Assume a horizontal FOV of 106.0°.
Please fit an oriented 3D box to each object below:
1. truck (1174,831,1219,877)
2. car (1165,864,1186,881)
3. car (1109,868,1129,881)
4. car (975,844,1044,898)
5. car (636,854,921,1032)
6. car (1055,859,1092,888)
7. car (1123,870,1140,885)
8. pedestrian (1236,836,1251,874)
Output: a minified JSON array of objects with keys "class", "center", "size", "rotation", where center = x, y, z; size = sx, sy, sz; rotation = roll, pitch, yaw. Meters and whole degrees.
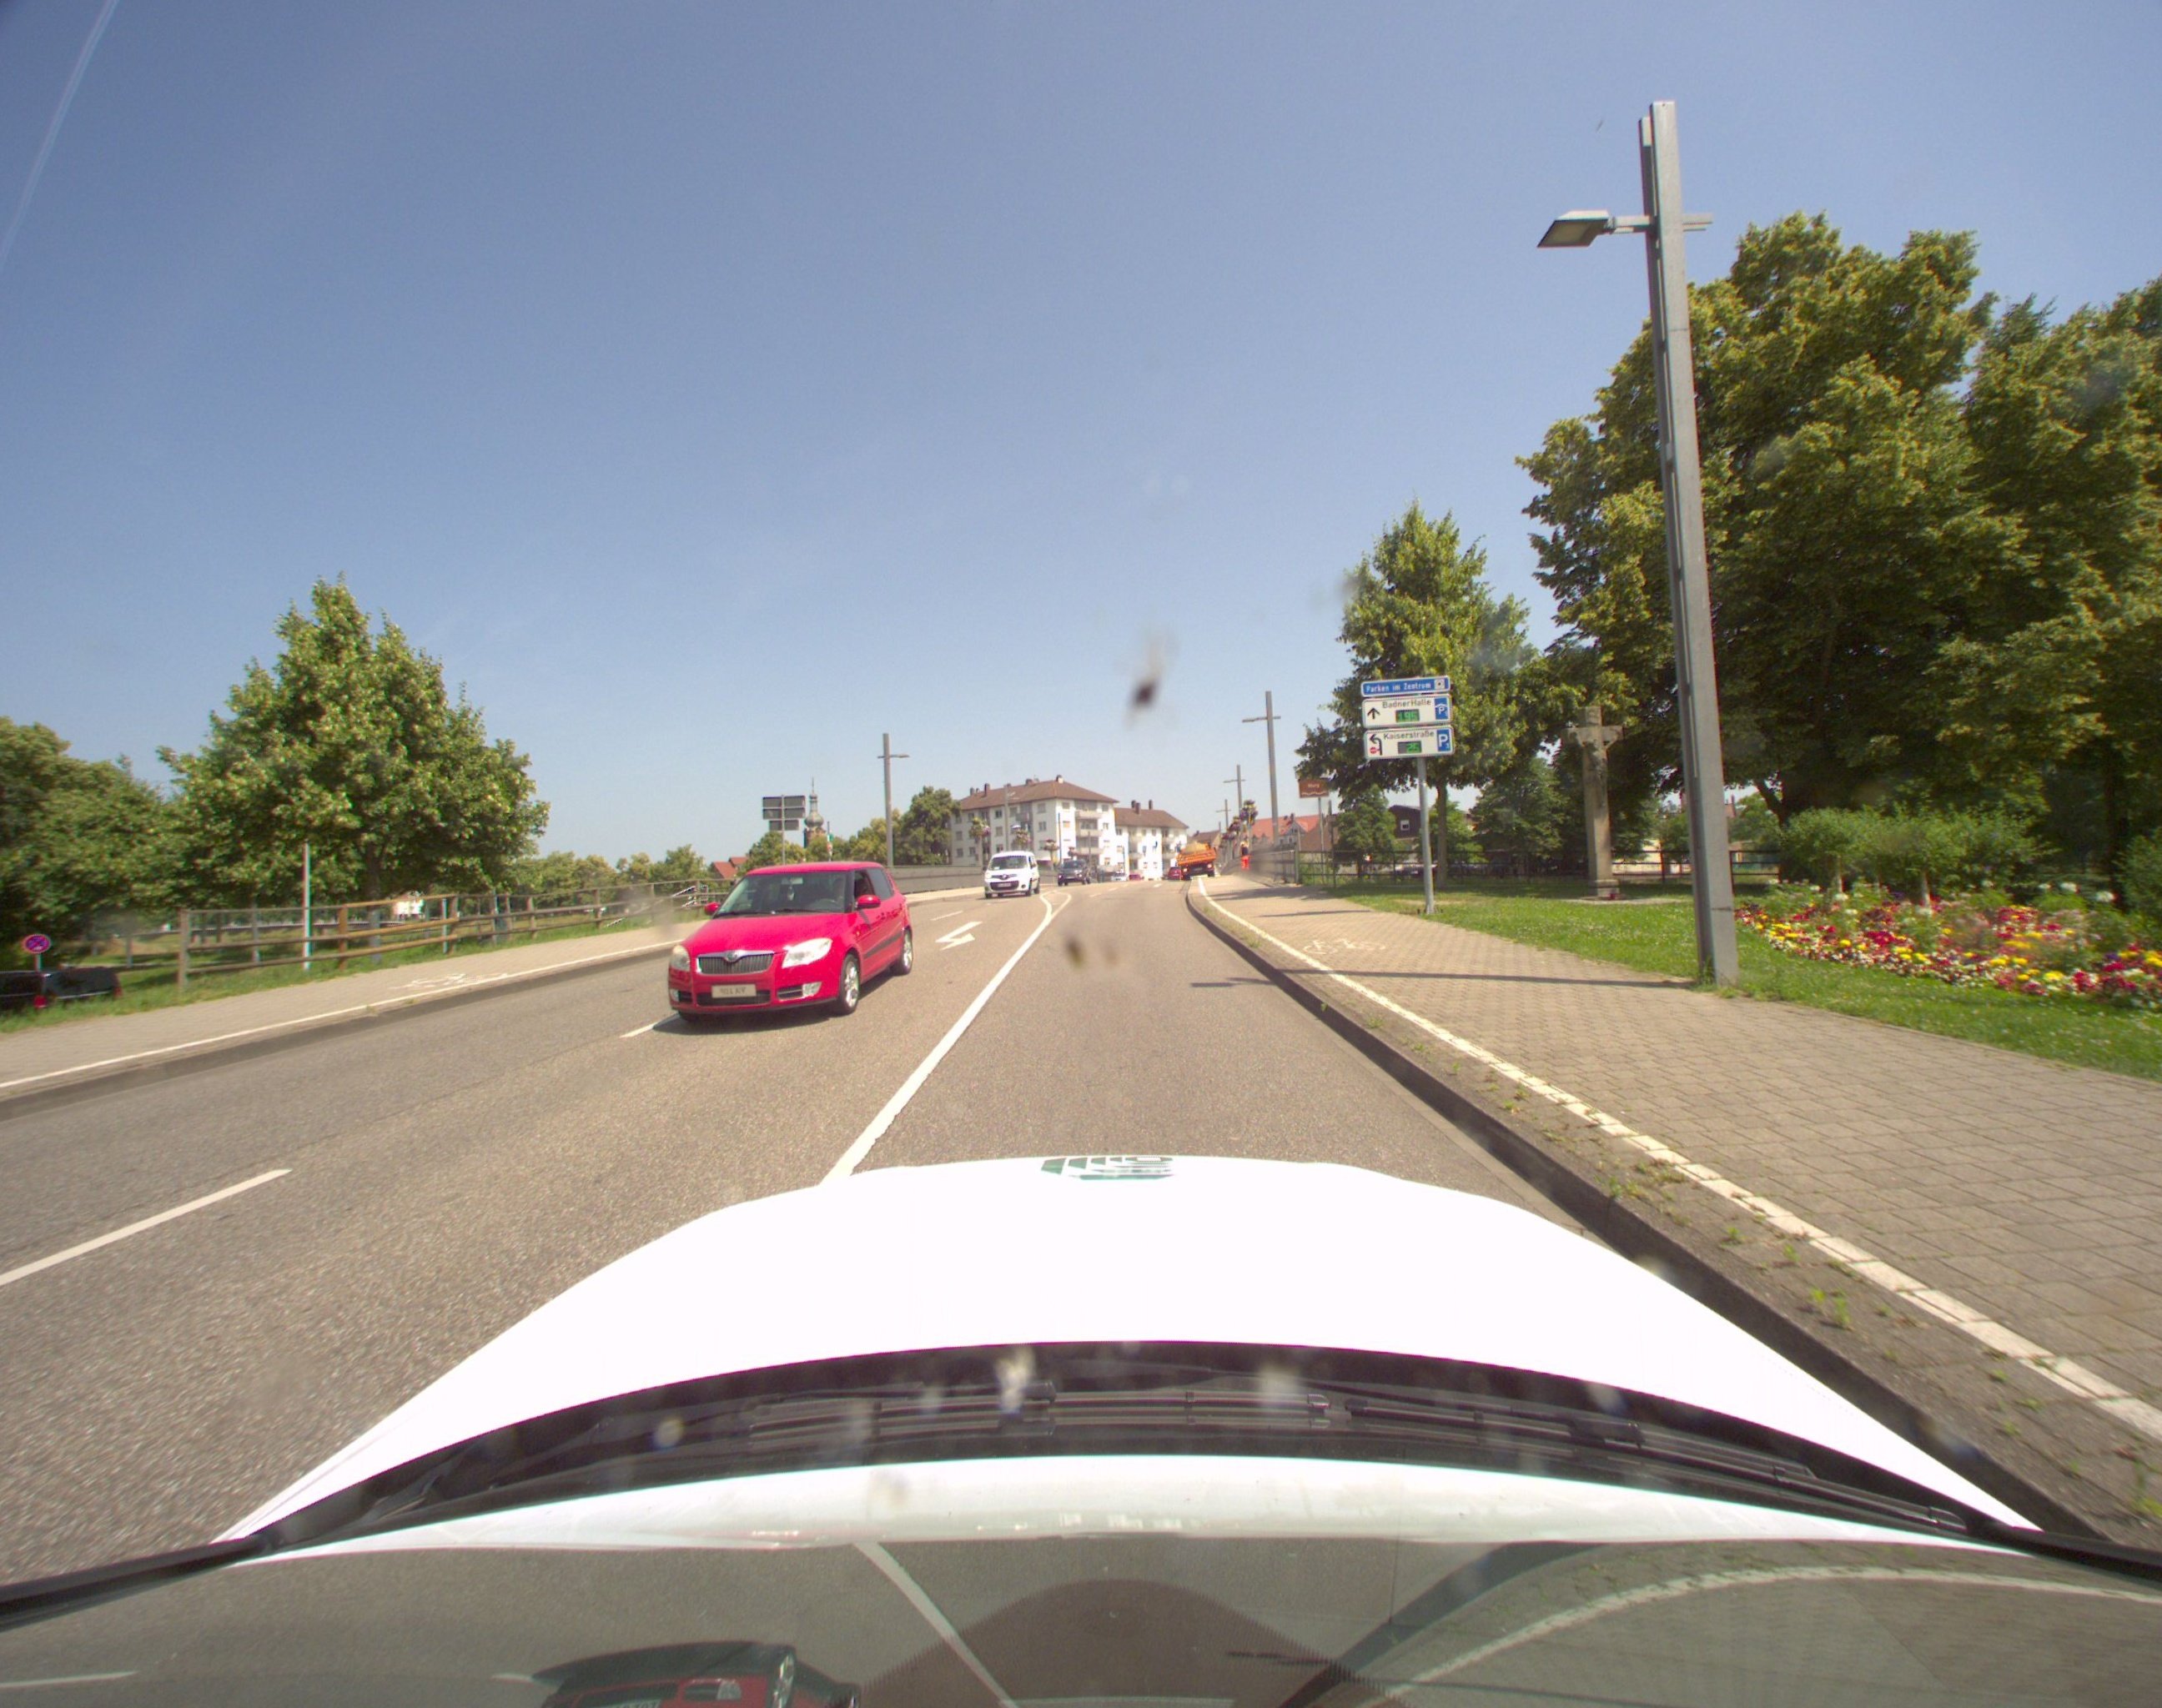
[{"class":"truck","center":[7.497,0.060,52.805],"size":[2.591,2.691,5.836],"rotation":[-3,-2,8]},{"class":"car","center":[9.528,1.877,82.470],"size":[1.980,1.613,4.349],"rotation":[-3,-2,6]},{"class":"car","center":[4.073,2.190,86.341],"size":[1.689,1.359,4.465],"rotation":[0,-3,8]},{"class":"car","center":[-2.749,0.647,32.445],"size":[1.828,1.860,4.669],"rotation":[-4,-1,5]},{"class":"car","center":[-2.993,0.782,8.969],"size":[1.642,1.464,3.860],"rotation":[-2,-1,0]},{"class":"car","center":[-0.469,1.254,52.396],"size":[1.727,1.641,3.929],"rotation":[-4,-2,7]},{"class":"car","center":[6.223,2.856,100.526],"size":[1.727,1.777,4.185],"rotation":[-3,-1,7]},{"class":"pedestrian","center":[8.515,0.066,42.695],"size":[0.545,1.960,0.672],"rotation":[-2,-3,0]}]
